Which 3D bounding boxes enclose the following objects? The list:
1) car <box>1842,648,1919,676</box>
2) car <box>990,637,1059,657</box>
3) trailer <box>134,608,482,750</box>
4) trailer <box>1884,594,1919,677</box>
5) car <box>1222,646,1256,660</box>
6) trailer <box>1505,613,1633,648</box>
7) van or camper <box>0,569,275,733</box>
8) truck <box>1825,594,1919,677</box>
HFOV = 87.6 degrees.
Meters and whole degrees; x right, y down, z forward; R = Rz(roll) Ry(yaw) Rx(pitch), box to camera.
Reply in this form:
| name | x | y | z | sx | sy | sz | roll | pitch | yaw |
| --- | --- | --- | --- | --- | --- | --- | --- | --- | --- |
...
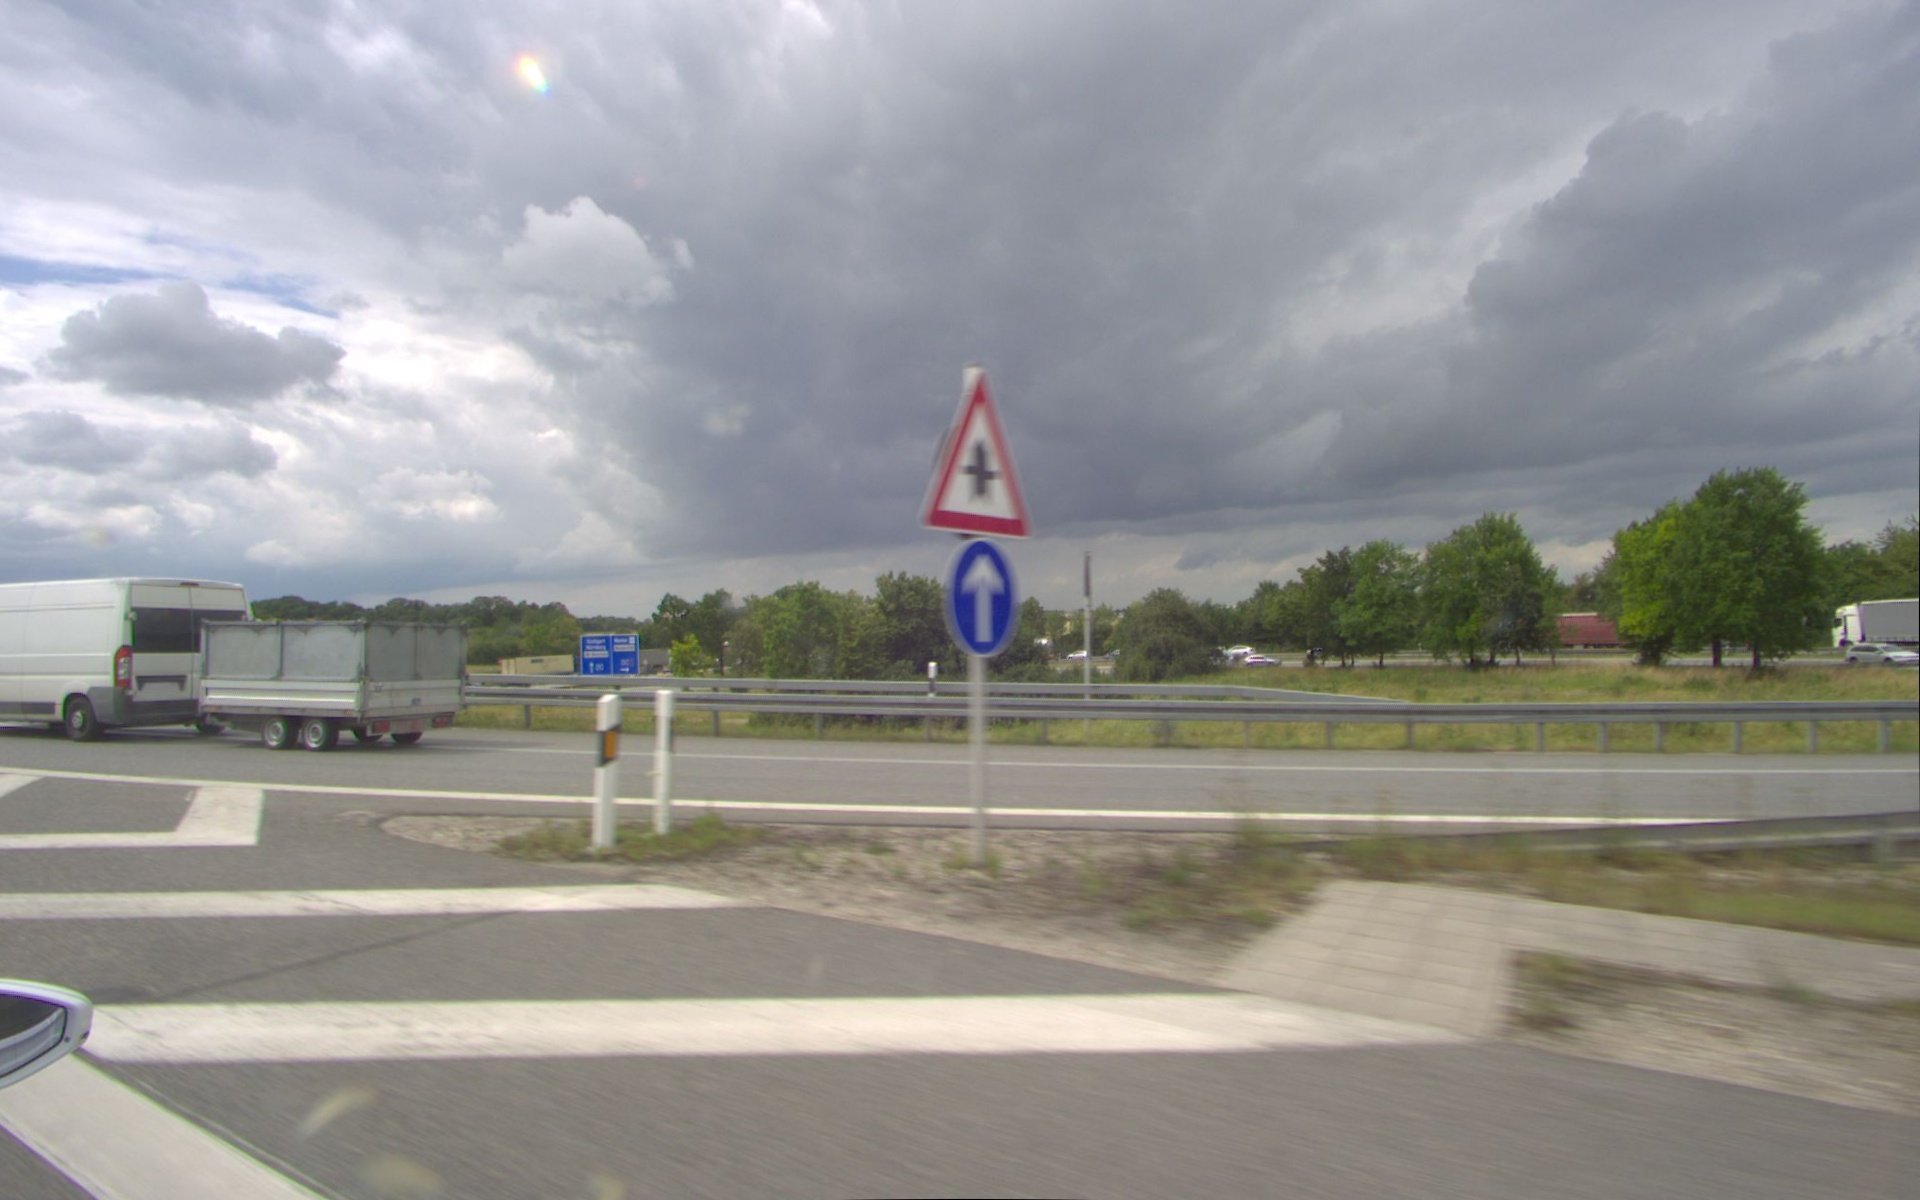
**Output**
| name | x | y | z | sx | sy | sz | roll | pitch | yaw |
| --- | --- | --- | --- | --- | --- | --- | --- | --- | --- |
| car | 61.448 | 4.072 | 66.504 | 1.765 | 1.771 | 4.527 | 0 | -2 | 0 |
| car | 10.203 | 7.482 | 159.402 | 11.641 | 3.118 | 3.423 | -2 | -3 | 44 |
| trailer | -9.628 | 1.106 | 14.866 | 4.427 | 1.865 | 1.998 | -1 | -2 | 18 |
| trailer | 73.624 | 2.512 | 71.338 | 3.940 | 6.165 | 12.101 | 0 | -2 | -2 |
| car | 37.525 | 7.116 | 134.798 | 3.957 | 1.806 | 1.888 | -2 | -3 | 43 |
| trailer | 63.764 | 3.310 | 105.263 | 3.086 | 3.492 | 11.642 | 1 | -2 | -27 |
| van or camper | -14.522 | 0.822 | 16.545 | 5.834 | 2.391 | 2.228 | -1 | -2 | 19 |
| truck | 73.341 | 2.821 | 77.853 | 3.989 | 6.149 | 8.982 | 0 | -2 | -3 |
